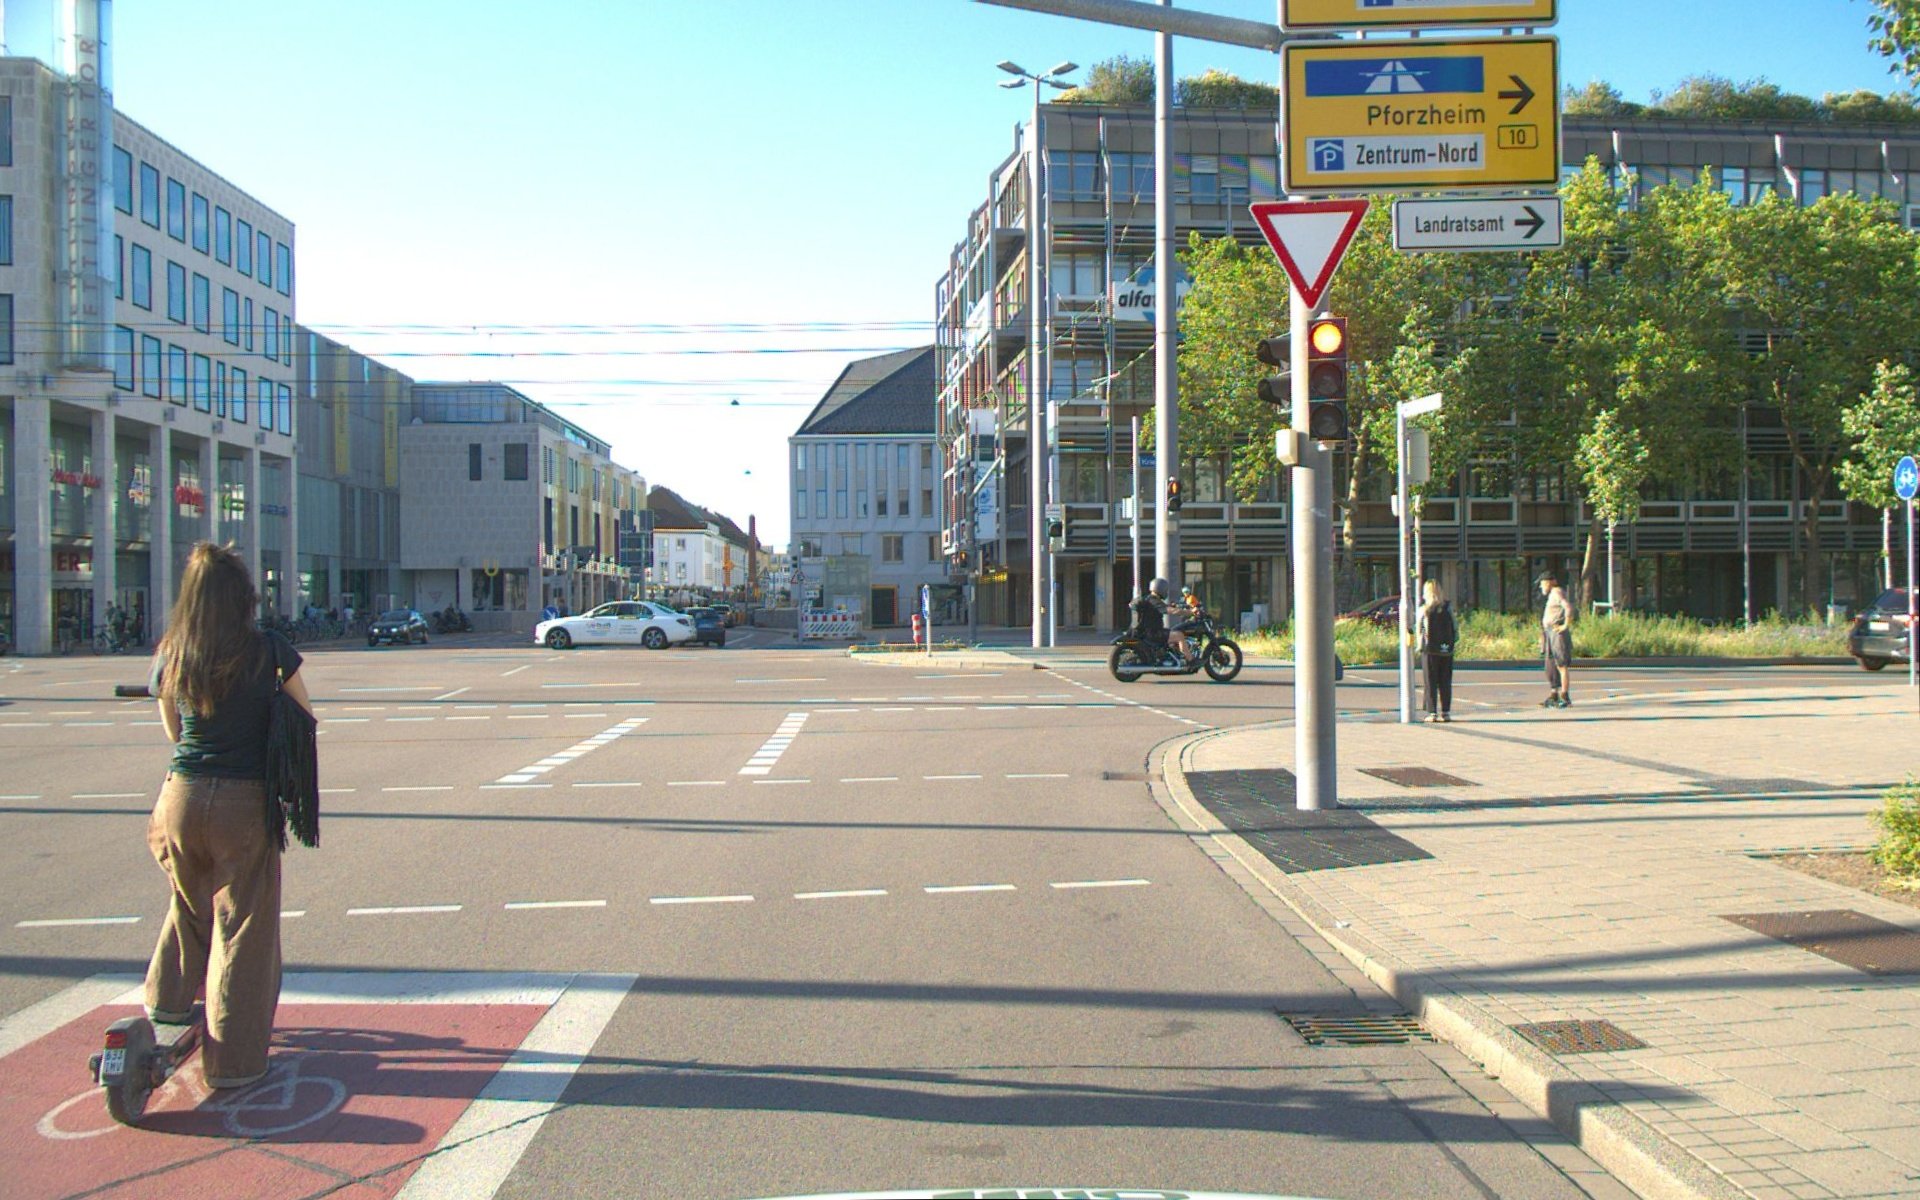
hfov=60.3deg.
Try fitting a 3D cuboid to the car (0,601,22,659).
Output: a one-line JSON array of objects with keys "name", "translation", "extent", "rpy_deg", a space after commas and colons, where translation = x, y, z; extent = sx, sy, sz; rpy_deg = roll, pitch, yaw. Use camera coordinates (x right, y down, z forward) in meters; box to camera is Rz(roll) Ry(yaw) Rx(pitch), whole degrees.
[{"name": "car", "translation": [-30.672, 0.925, 49.282], "extent": [4.317, 1.713, 1.824], "rpy_deg": [-1, 0, -4]}]

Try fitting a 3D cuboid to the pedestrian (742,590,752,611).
[{"name": "pedestrian", "translation": [-21.153, 0.042, 164.359], "extent": [0.892, 1.999, 0.822], "rpy_deg": [1, -1, -1]}]

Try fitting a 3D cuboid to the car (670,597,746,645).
[{"name": "car", "translation": [-9.376, 0.743, 61.309], "extent": [1.796, 1.713, 3.970], "rpy_deg": [-1, 0, -24]}]

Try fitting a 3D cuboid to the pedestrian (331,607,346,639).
[{"name": "pedestrian", "translation": [-34.659, 1.290, 92.195], "extent": [0.461, 1.759, 0.627], "rpy_deg": [1, -1, 28]}]

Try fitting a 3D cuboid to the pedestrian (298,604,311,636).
[{"name": "pedestrian", "translation": [-36.484, 1.103, 92.075], "extent": [0.462, 1.759, 0.518], "rpy_deg": [0, -1, 38]}]

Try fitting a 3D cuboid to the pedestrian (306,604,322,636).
[{"name": "pedestrian", "translation": [-34.842, 1.077, 89.204], "extent": [0.462, 1.759, 0.626], "rpy_deg": [1, -1, 33]}]

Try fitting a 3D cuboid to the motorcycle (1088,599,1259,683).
[{"name": "motorcycle", "translation": [3.324, 0.617, 25.753], "extent": [2.548, 1.229, 0.728], "rpy_deg": [-1, 1, -11]}]

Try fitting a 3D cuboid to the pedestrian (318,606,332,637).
[{"name": "pedestrian", "translation": [-35.437, 1.207, 92.273], "extent": [0.462, 1.712, 0.518], "rpy_deg": [0, -1, 38]}]

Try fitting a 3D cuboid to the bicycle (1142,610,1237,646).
[{"name": "bicycle", "translation": [6.533, 0.796, 47.201], "extent": [2.517, 0.992, 1.047], "rpy_deg": [-1, 0, -4]}]

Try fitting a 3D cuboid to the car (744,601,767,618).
[{"name": "car", "translation": [-18.006, 0.822, 145.694], "extent": [1.625, 1.484, 3.541], "rpy_deg": [-1, 0, -1]}]

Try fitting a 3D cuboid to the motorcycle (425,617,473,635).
[{"name": "motorcycle", "translation": [-30.165, 1.520, 97.598], "extent": [2.555, 1.010, 1.113], "rpy_deg": [1, 0, -10]}]

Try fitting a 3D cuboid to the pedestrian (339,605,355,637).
[{"name": "pedestrian", "translation": [-33.396, 1.148, 90.101], "extent": [0.462, 1.759, 0.692], "rpy_deg": [0, -1, 37]}]

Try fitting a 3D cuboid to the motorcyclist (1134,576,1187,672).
[{"name": "motorcyclist", "translation": [3.114, 0.364, 25.715], "extent": [0.645, 1.448, 0.646], "rpy_deg": [-1, 1, -11]}]

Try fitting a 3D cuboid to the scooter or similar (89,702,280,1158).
[{"name": "scooter or similar", "translation": [-2.200, 0.886, 4.745], "extent": [0.301, 1.127, 0.836], "rpy_deg": [-1, 0, -12]}]

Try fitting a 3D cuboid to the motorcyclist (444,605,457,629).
[{"name": "motorcyclist", "translation": [-30.148, 0.991, 97.819], "extent": [0.616, 1.430, 0.661], "rpy_deg": [1, -1, -9]}]

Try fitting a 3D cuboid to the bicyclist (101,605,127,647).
[{"name": "bicyclist", "translation": [-30.003, 0.919, 58.675], "extent": [0.615, 1.473, 0.587], "rpy_deg": [-1, 0, 35]}]

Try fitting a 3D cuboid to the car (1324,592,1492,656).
[{"name": "car", "translation": [12.618, 0.645, 46.649], "extent": [4.212, 1.713, 1.820], "rpy_deg": [-1, 0, -11]}]

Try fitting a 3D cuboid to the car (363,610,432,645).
[{"name": "car", "translation": [-23.566, 1.129, 69.433], "extent": [1.642, 1.381, 4.019], "rpy_deg": [-1, 0, -2]}]

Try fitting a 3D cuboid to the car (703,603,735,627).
[{"name": "car", "translation": [-15.700, 0.958, 107.821], "extent": [1.625, 1.484, 3.541], "rpy_deg": [-1, 0, -1]}]

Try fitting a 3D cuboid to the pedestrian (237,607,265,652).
[{"name": "pedestrian", "translation": [-26.767, 1.099, 62.469], "extent": [0.760, 1.667, 0.626], "rpy_deg": [-1, 0, 2]}]

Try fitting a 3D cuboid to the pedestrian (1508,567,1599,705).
[{"name": "pedestrian", "translation": [7.605, 0.452, 21.225], "extent": [0.854, 1.736, 0.768], "rpy_deg": [-1, 0, -3]}]

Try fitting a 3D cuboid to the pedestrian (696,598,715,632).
[{"name": "pedestrian", "translation": [-13.614, 0.808, 88.360], "extent": [0.881, 1.814, 0.808], "rpy_deg": [0, 0, -1]}]

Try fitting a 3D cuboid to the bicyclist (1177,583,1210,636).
[{"name": "bicyclist", "translation": [6.674, 0.278, 47.220], "extent": [0.806, 1.500, 0.652], "rpy_deg": [-1, 0, -5]}]

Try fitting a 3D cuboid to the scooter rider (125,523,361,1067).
[{"name": "scooter rider", "translation": [-2.149, 0.555, 4.998], "extent": [0.542, 1.556, 0.448], "rpy_deg": [-1, 0, -9]}]

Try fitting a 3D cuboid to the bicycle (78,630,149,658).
[{"name": "bicycle", "translation": [-30.016, 1.559, 58.654], "extent": [0.625, 0.919, 2.210], "rpy_deg": [-1, 0, 35]}]

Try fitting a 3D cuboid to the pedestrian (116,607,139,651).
[{"name": "pedestrian", "translation": [-32.579, 1.133, 64.724], "extent": [0.580, 1.674, 0.629], "rpy_deg": [-1, 0, -1]}]

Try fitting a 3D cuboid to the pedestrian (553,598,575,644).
[{"name": "pedestrian", "translation": [-15.042, 0.799, 62.841], "extent": [0.685, 1.718, 0.619], "rpy_deg": [-1, 0, 0]}]

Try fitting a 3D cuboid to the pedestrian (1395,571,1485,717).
[{"name": "pedestrian", "translation": [5.538, 0.498, 19.104], "extent": [0.750, 1.642, 0.874], "rpy_deg": [-1, 0, -2]}]

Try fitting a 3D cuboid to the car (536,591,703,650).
[{"name": "car", "translation": [-10.389, 0.614, 50.693], "extent": [4.746, 1.713, 1.825], "rpy_deg": [-1, 0, -2]}]

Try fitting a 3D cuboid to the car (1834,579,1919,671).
[{"name": "car", "translation": [17.417, 0.392, 28.623], "extent": [3.788, 1.536, 1.669], "rpy_deg": [-1, 0, -8]}]
